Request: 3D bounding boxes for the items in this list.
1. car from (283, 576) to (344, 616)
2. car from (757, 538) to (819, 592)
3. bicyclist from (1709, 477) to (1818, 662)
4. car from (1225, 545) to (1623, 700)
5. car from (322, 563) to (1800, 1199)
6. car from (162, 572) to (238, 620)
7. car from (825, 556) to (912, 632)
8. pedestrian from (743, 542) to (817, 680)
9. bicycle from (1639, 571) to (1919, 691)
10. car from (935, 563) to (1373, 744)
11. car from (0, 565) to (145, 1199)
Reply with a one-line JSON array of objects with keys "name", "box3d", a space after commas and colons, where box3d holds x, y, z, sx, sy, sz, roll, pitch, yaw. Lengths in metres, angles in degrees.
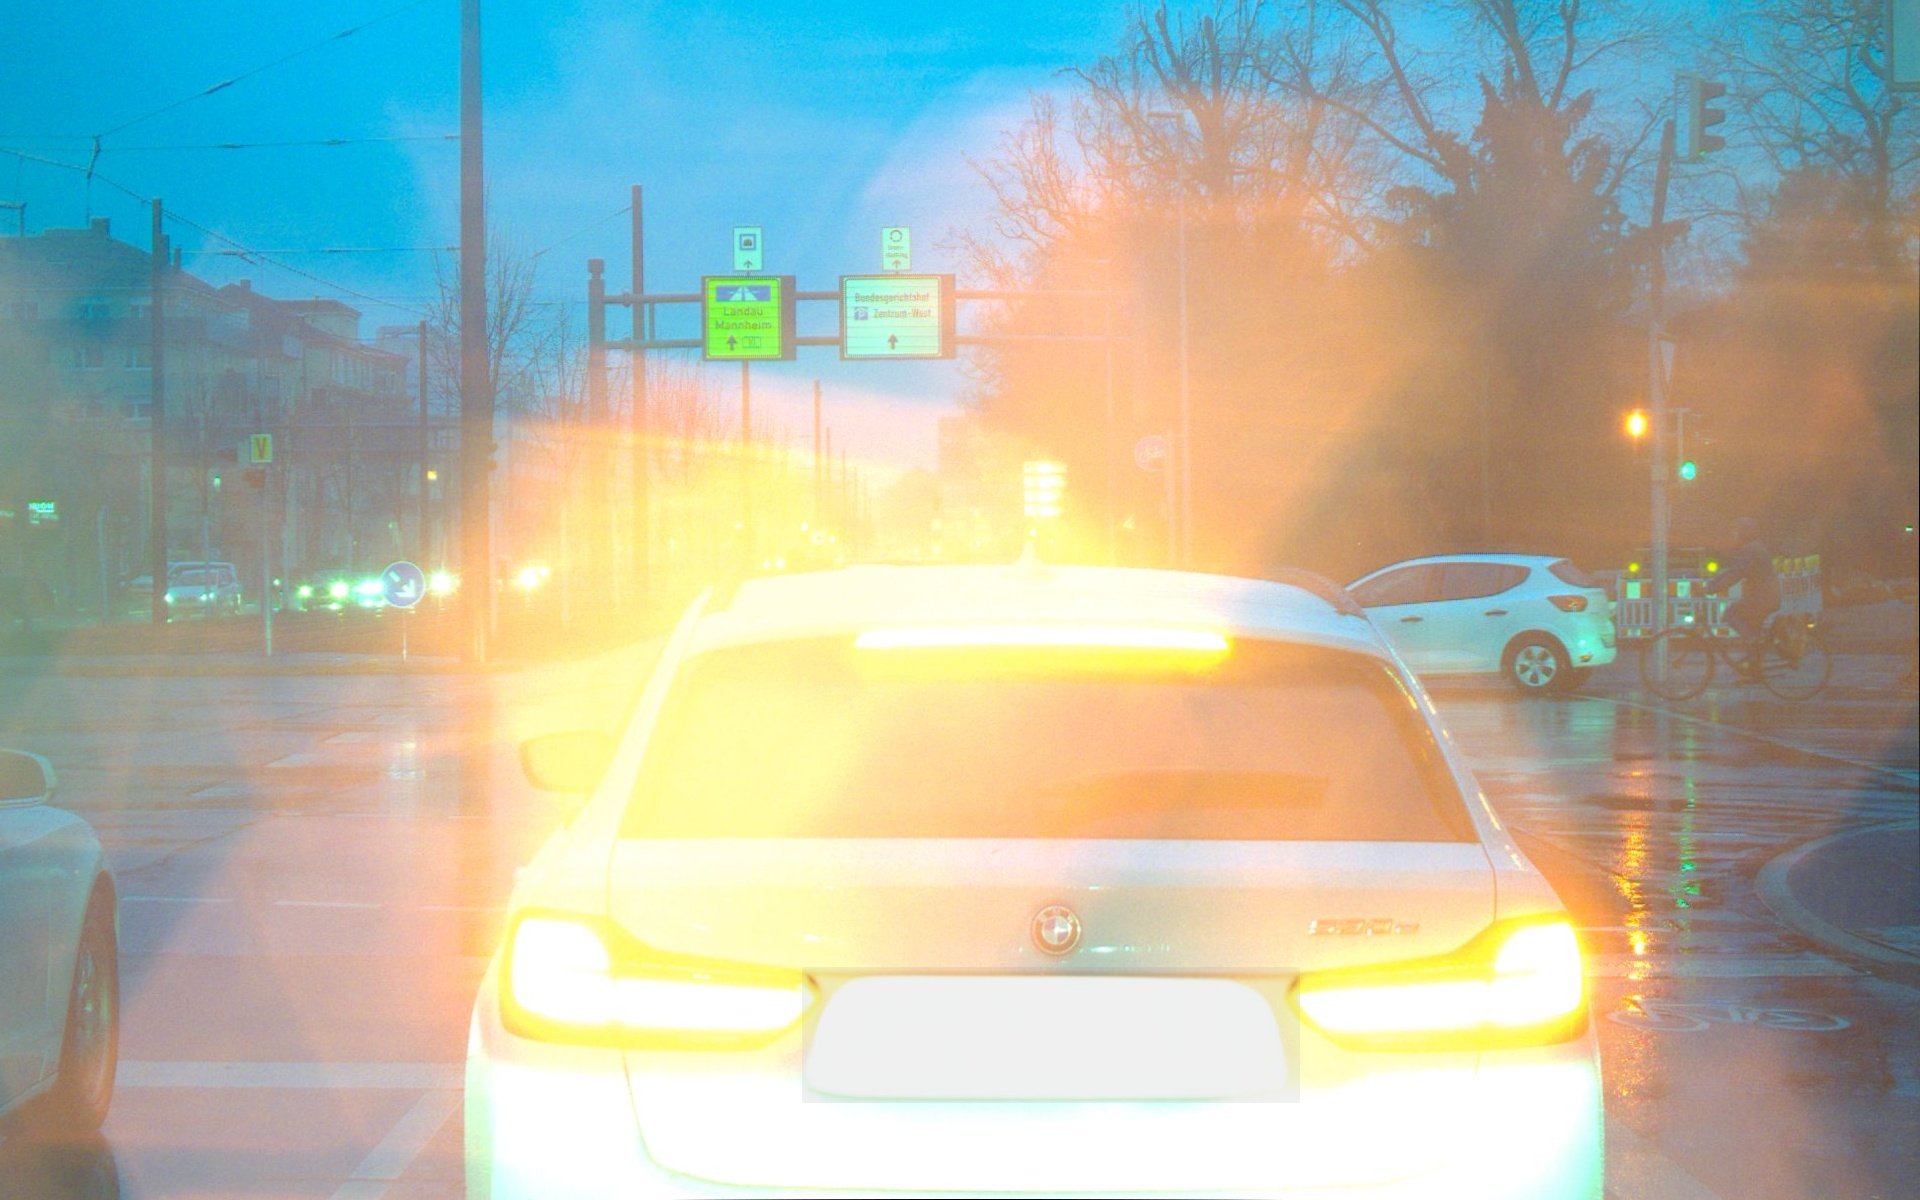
[{"name": "car", "box3d": [-24.923, -0.151, 132.624, 1.675, 1.502, 3.696, 1, 0, -1]}, {"name": "car", "box3d": [-5.302, -1.067, 106.506, 1.843, 1.603, 3.945, 1, 0, -2]}, {"name": "bicyclist", "box3d": [7.786, -0.296, 33.340, 0.972, 1.753, 0.813, 1, 0, 12]}, {"name": "car", "box3d": [5.029, 0.229, 37.228, 3.959, 1.548, 1.747, 1, 0, 20]}, {"name": "car", "box3d": [0.047, 0.672, 6.825, 1.993, 1.451, 4.369, 0, 1, -2]}, {"name": "car", "box3d": [-24.792, -0.133, 112.281, 1.675, 1.502, 3.696, 1, 0, -1]}, {"name": "car", "box3d": [-2.042, -0.133, 76.579, 1.843, 1.603, 3.945, 1, 0, -2]}, {"name": "pedestrian", "box3d": [-2.445, 0.151, 46.795, 0.903, 1.850, 0.812, 1, 0, 2]}, {"name": "bicycle", "box3d": [7.950, 0.292, 33.294, 2.668, 1.085, 0.814, 1, 0, 12]}, {"name": "car", "box3d": [1.746, 0.456, 30.416, 3.689, 1.473, 1.628, 1, 0, 10]}, {"name": "car", "box3d": [-3.099, 0.668, 7.044, 1.993, 1.451, 4.369, 0, 1, -2]}]
